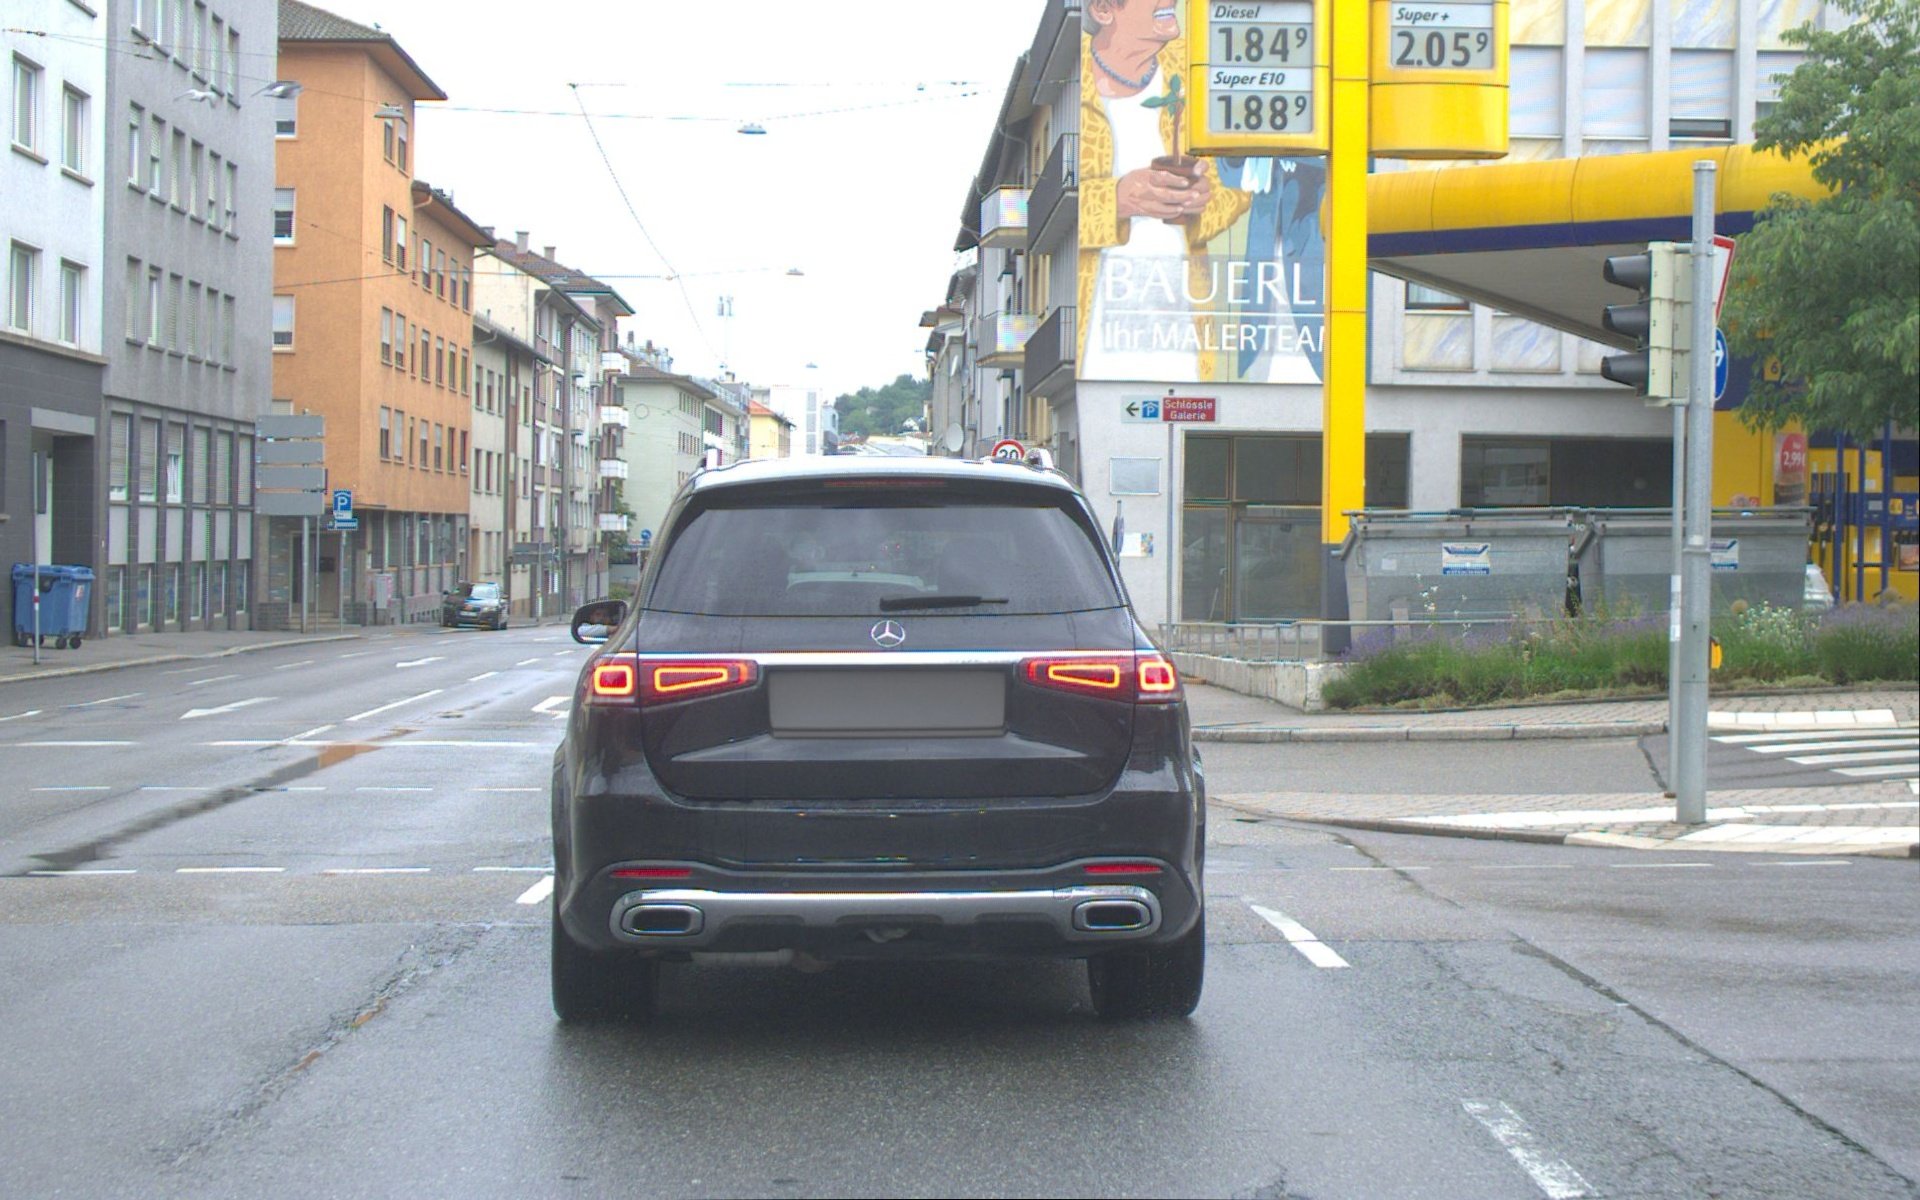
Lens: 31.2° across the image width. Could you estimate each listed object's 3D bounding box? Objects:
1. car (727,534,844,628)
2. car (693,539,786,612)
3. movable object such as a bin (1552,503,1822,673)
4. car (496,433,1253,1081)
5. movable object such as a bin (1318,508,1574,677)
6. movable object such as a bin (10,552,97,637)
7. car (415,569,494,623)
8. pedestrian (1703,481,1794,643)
[{"bbox_3d":[-3.271,-0.378,64.958,2.076,1.644,4.295,2,1,-2],"label":"car"},{"bbox_3d":[-5.332,-0.608,83.582,2.076,1.644,4.295,2,1,-2],"label":"car"},{"bbox_3d":[6.908,-0.118,32.825,2.155,1.550,1.773,-1,1,-1],"label":"movable object such as a bin"},{"bbox_3d":[-0.320,0.412,12.044,2.076,1.759,4.611,2,1,-2],"label":"car"},{"bbox_3d":[4.603,-0.080,32.775,2.155,1.569,1.773,0,1,-1],"label":"movable object such as a bin"},{"bbox_3d":[-14.689,-0.099,55.720,1.076,1.320,1.191,2,0,-2],"label":"movable object such as a bin"},{"bbox_3d":[-14.931,-0.137,101.761,1.891,1.453,4.550,2,1,-4],"label":"car"},{"bbox_3d":[7.936,-0.382,34.639,0.664,1.579,0.847,2,0,1],"label":"pedestrian"}]
